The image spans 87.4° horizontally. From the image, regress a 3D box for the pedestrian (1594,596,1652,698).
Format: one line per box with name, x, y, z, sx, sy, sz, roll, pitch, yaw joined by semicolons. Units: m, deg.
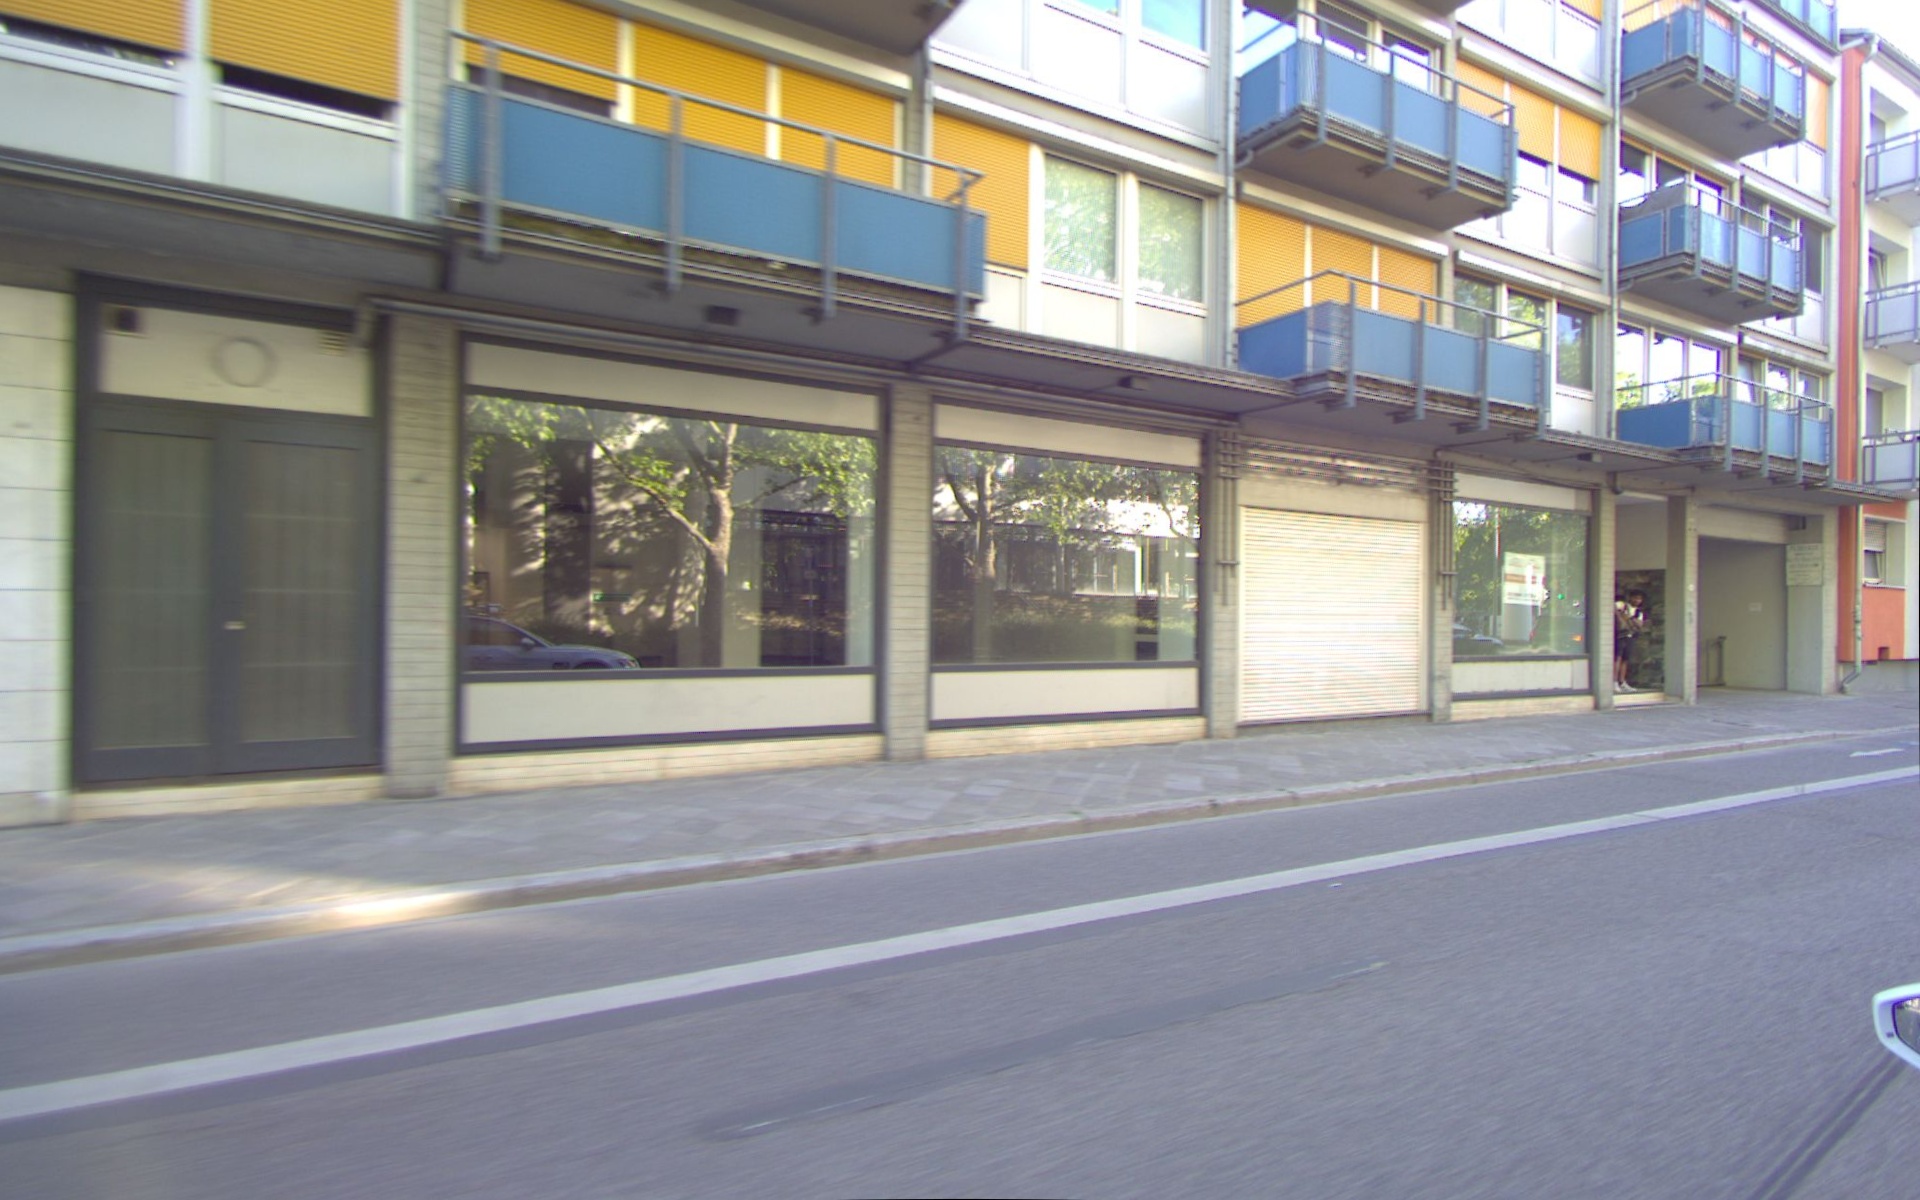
pedestrian;10.691;0.742;16.201;0.747;1.600;0.511;1;0;-30
